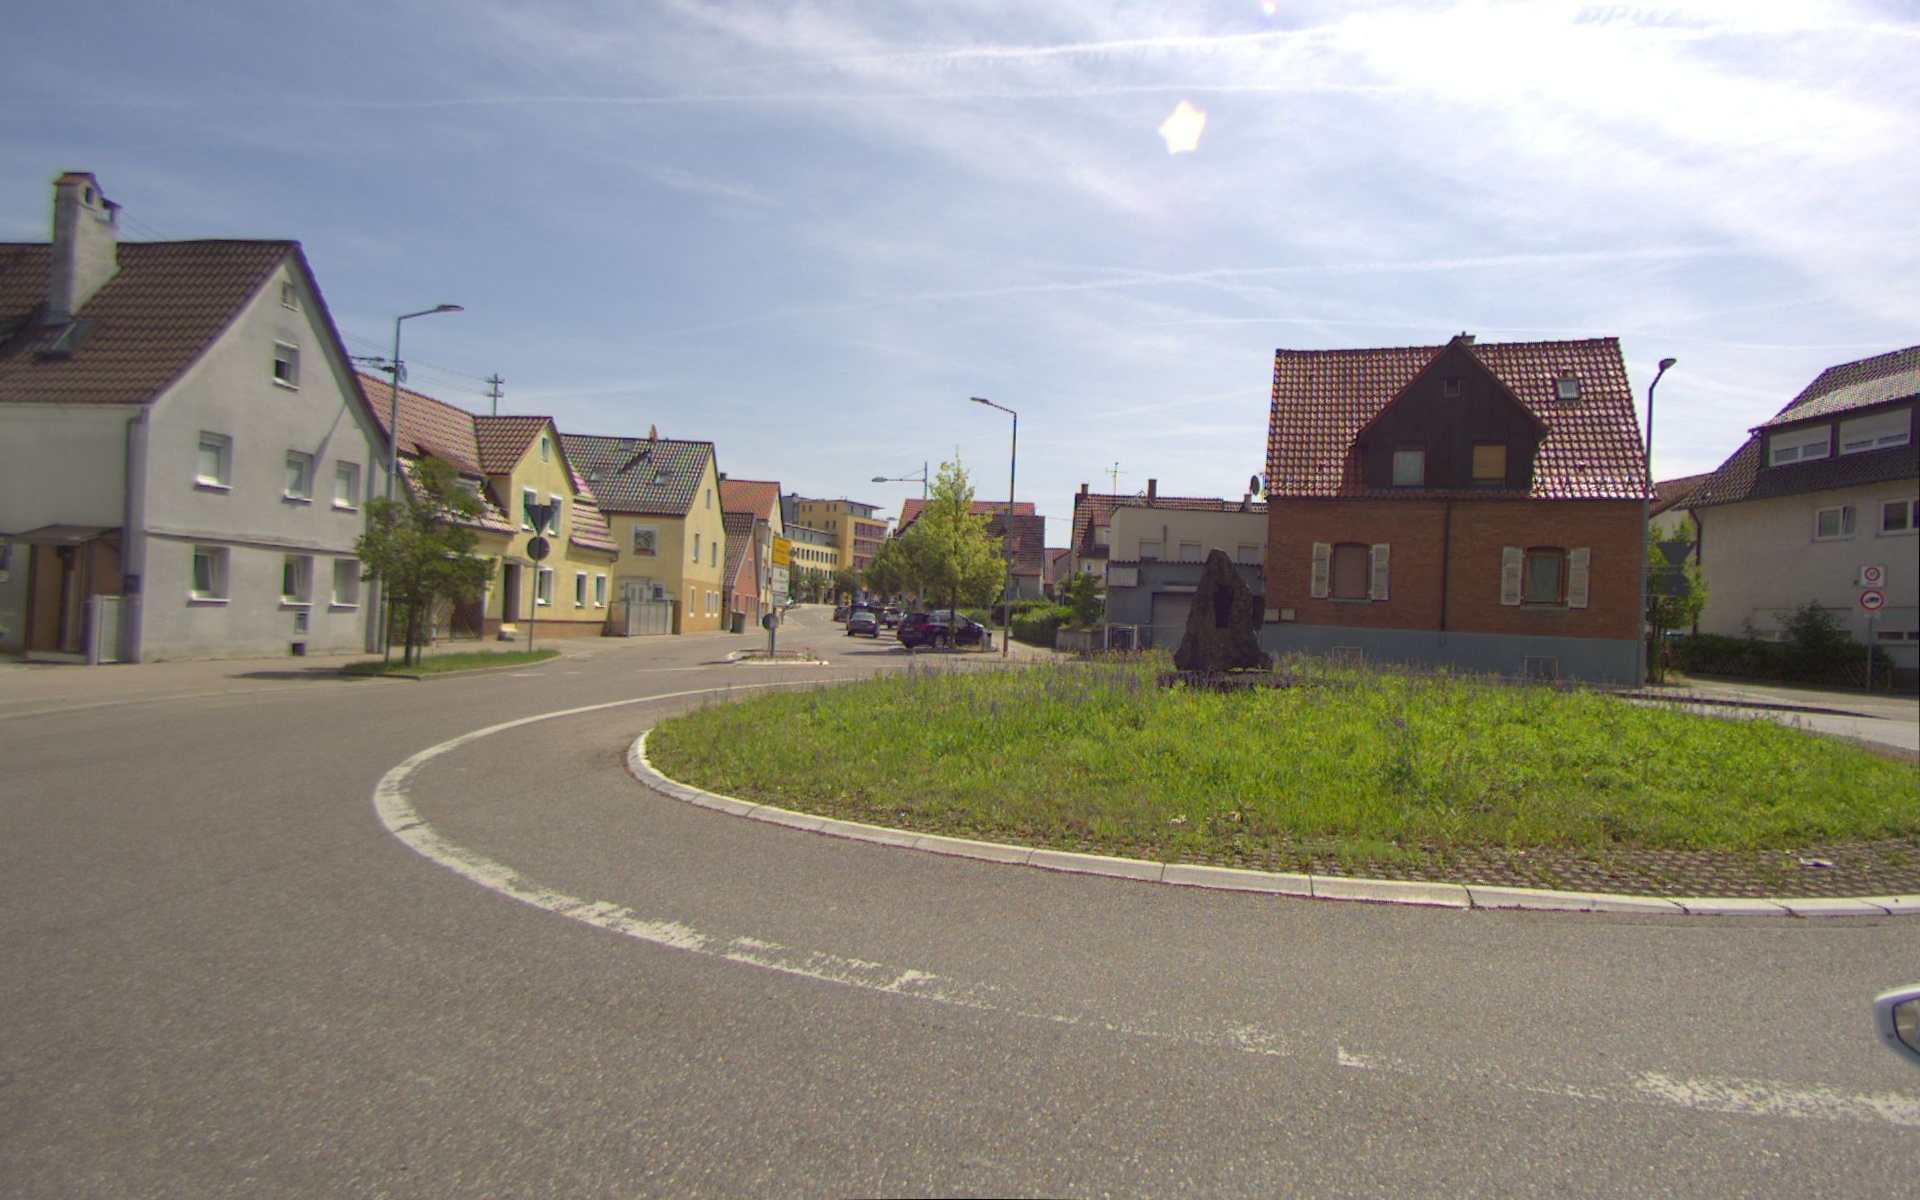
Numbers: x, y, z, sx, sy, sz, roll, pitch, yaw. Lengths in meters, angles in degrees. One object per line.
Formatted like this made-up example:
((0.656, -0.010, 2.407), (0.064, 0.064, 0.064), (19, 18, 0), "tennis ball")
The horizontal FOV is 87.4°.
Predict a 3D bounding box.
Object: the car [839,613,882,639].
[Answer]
((-5.978, 1.508, 59.855), (1.847, 1.409, 4.202), (3, -1, -15), "car")

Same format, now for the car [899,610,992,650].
((-0.651, 1.371, 45.703), (3.968, 1.639, 1.796), (3, -1, -40), "car")

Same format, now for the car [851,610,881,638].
((-7.224, 1.801, 76.853), (2.079, 2.040, 3.995), (2, -1, -7), "car")

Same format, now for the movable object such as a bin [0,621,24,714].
((-11.491, 0.776, 11.557), (0.885, 1.062, 0.579), (1, 0, 2), "movable object such as a bin")

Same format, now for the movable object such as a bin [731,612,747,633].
((-11.079, 1.122, 50.391), (0.686, 1.066, 0.674), (2, 0, -8), "movable object such as a bin")

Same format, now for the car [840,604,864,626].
((-10.778, 1.524, 100.665), (2.077, 2.040, 3.998), (2, -1, -3), "car")
